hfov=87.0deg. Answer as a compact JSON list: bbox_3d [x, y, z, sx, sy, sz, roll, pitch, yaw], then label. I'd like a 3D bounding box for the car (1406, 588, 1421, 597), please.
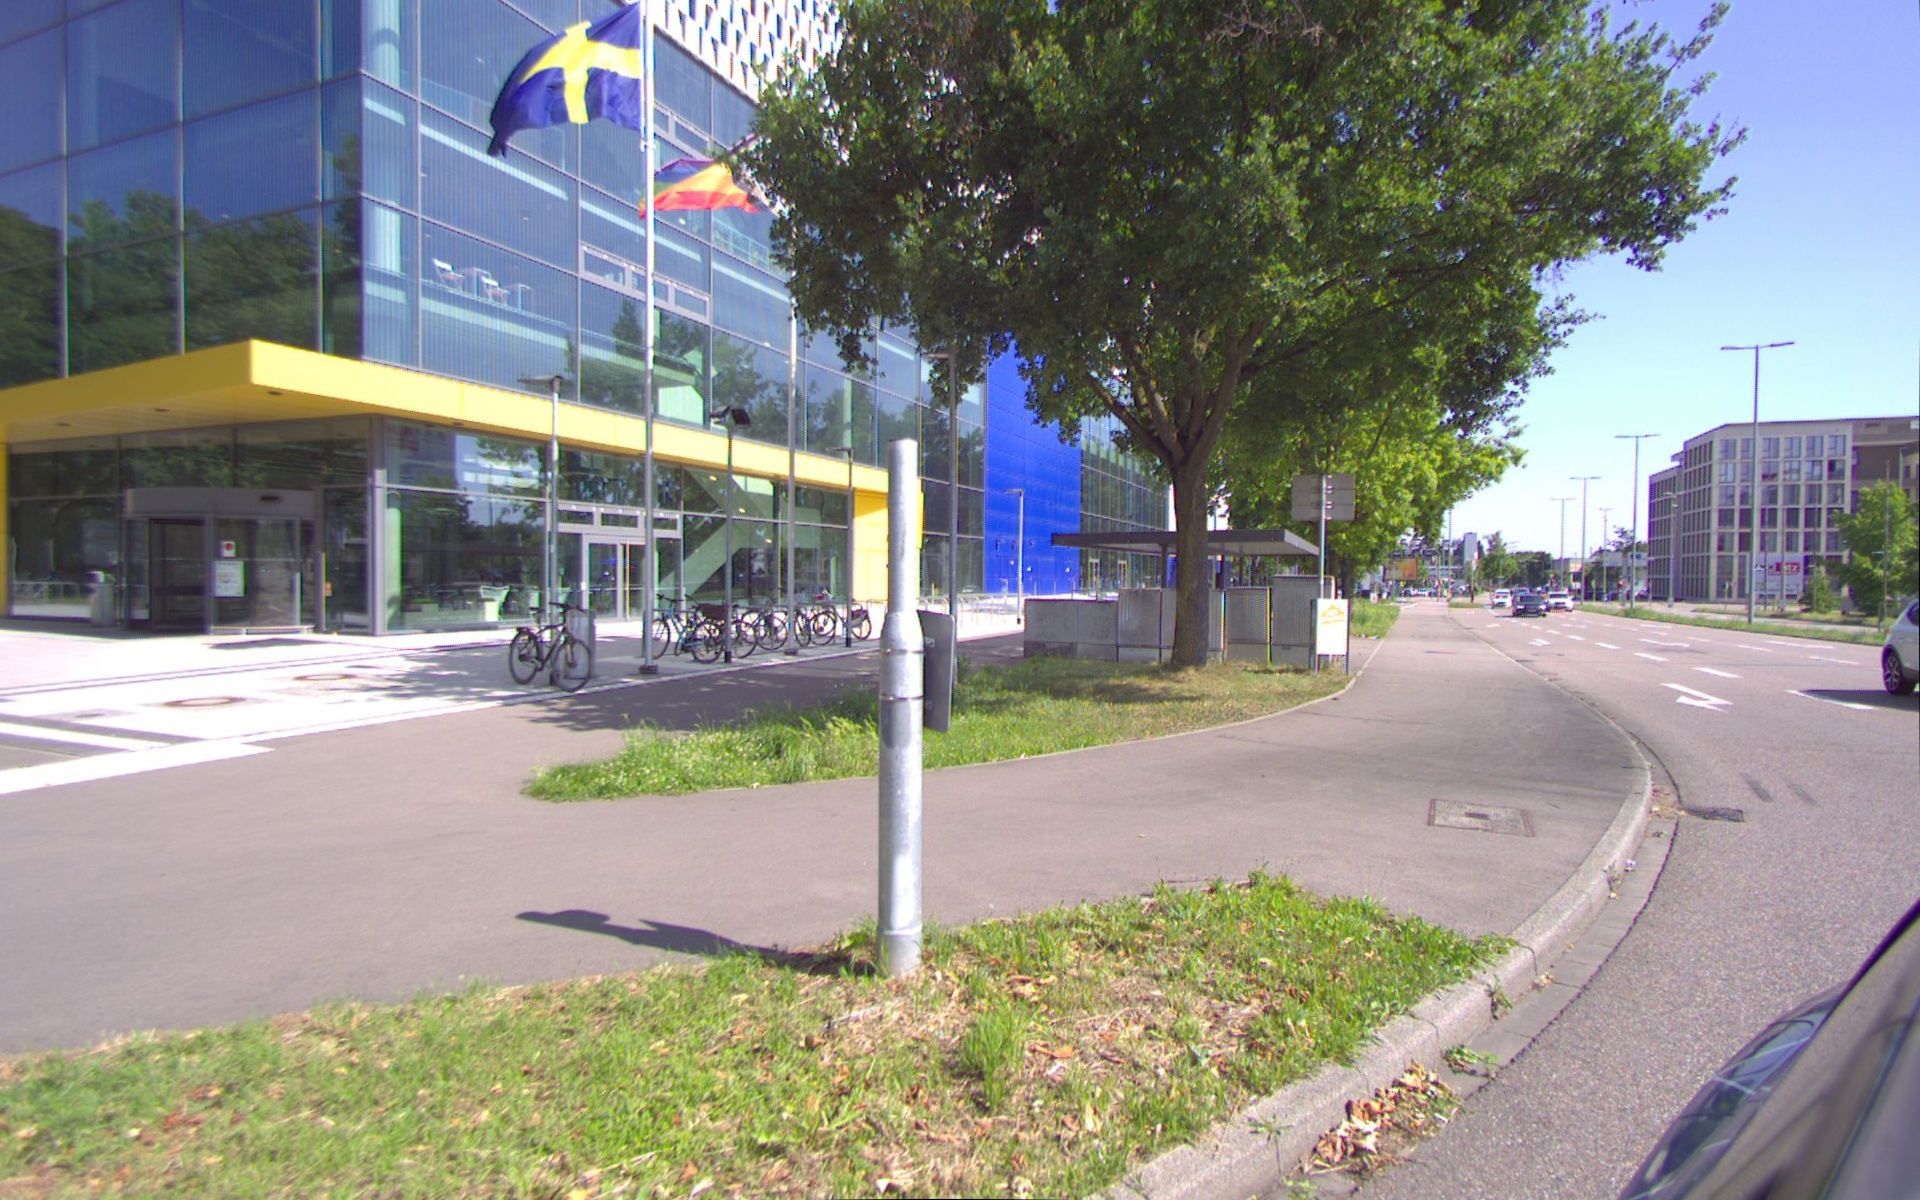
[{"bbox_3d":[74.384,-1.278,166.007,1.983,1.479,3.958,1,1,30],"label":"car"}]

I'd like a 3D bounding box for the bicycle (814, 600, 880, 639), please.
[{"bbox_3d":[-2.611,0.431,23.329,1.552,0.854,0.429,1,0,28],"label":"bicycle"}]

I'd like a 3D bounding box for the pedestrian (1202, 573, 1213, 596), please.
[{"bbox_3d":[18.239,-1.132,74.600,0.682,1.632,0.766,2,0,21],"label":"pedestrian"}]

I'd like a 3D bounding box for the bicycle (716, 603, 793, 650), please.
[{"bbox_3d":[-4.013,0.502,19.724,1.552,0.854,0.429,1,0,28],"label":"bicycle"}]

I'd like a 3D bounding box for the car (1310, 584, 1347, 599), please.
[{"bbox_3d":[54.813,-1.293,150.534,4.945,2.032,1.727,1,2,24],"label":"car"}]

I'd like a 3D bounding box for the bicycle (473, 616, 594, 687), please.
[{"bbox_3d":[-5.713,0.666,13.527,1.817,0.854,0.429,1,0,28],"label":"bicycle"}]

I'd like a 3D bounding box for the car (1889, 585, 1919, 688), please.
[{"bbox_3d":[14.391,0.511,13.618,1.619,1.517,3.836,0,-2,24],"label":"car"}]

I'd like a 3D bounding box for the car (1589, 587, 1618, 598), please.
[{"bbox_3d":[115.743,-1.351,181.999,1.967,2.039,3.991,0,2,-44],"label":"car"}]

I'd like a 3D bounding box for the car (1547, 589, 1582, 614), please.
[{"bbox_3d":[49.110,0.058,82.319,2.006,1.860,4.276,1,2,25],"label":"car"}]

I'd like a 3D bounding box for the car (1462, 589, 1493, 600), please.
[{"bbox_3d":[84.207,-0.902,164.832,4.438,1.607,1.962,1,1,27],"label":"car"}]

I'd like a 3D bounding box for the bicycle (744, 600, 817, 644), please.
[{"bbox_3d":[-3.716,0.443,20.971,1.552,0.854,0.429,1,0,28],"label":"bicycle"}]

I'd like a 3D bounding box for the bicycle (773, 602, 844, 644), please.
[{"bbox_3d":[-3.273,0.479,21.799,1.552,0.854,0.429,1,0,28],"label":"bicycle"}]

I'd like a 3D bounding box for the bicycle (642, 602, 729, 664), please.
[{"bbox_3d":[-4.691,0.548,17.269,1.552,1.007,0.429,1,0,28],"label":"bicycle"}]

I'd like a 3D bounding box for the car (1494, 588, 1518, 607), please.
[{"bbox_3d":[54.247,-0.300,100.591,1.815,1.733,3.736,1,2,24],"label":"car"}]

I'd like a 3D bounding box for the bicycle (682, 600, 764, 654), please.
[{"bbox_3d":[-4.323,0.472,18.413,1.552,0.921,0.429,1,0,28],"label":"bicycle"}]

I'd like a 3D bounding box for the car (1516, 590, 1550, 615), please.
[{"bbox_3d":[38.257,0.134,67.642,1.754,1.482,4.201,0,2,26],"label":"car"}]
